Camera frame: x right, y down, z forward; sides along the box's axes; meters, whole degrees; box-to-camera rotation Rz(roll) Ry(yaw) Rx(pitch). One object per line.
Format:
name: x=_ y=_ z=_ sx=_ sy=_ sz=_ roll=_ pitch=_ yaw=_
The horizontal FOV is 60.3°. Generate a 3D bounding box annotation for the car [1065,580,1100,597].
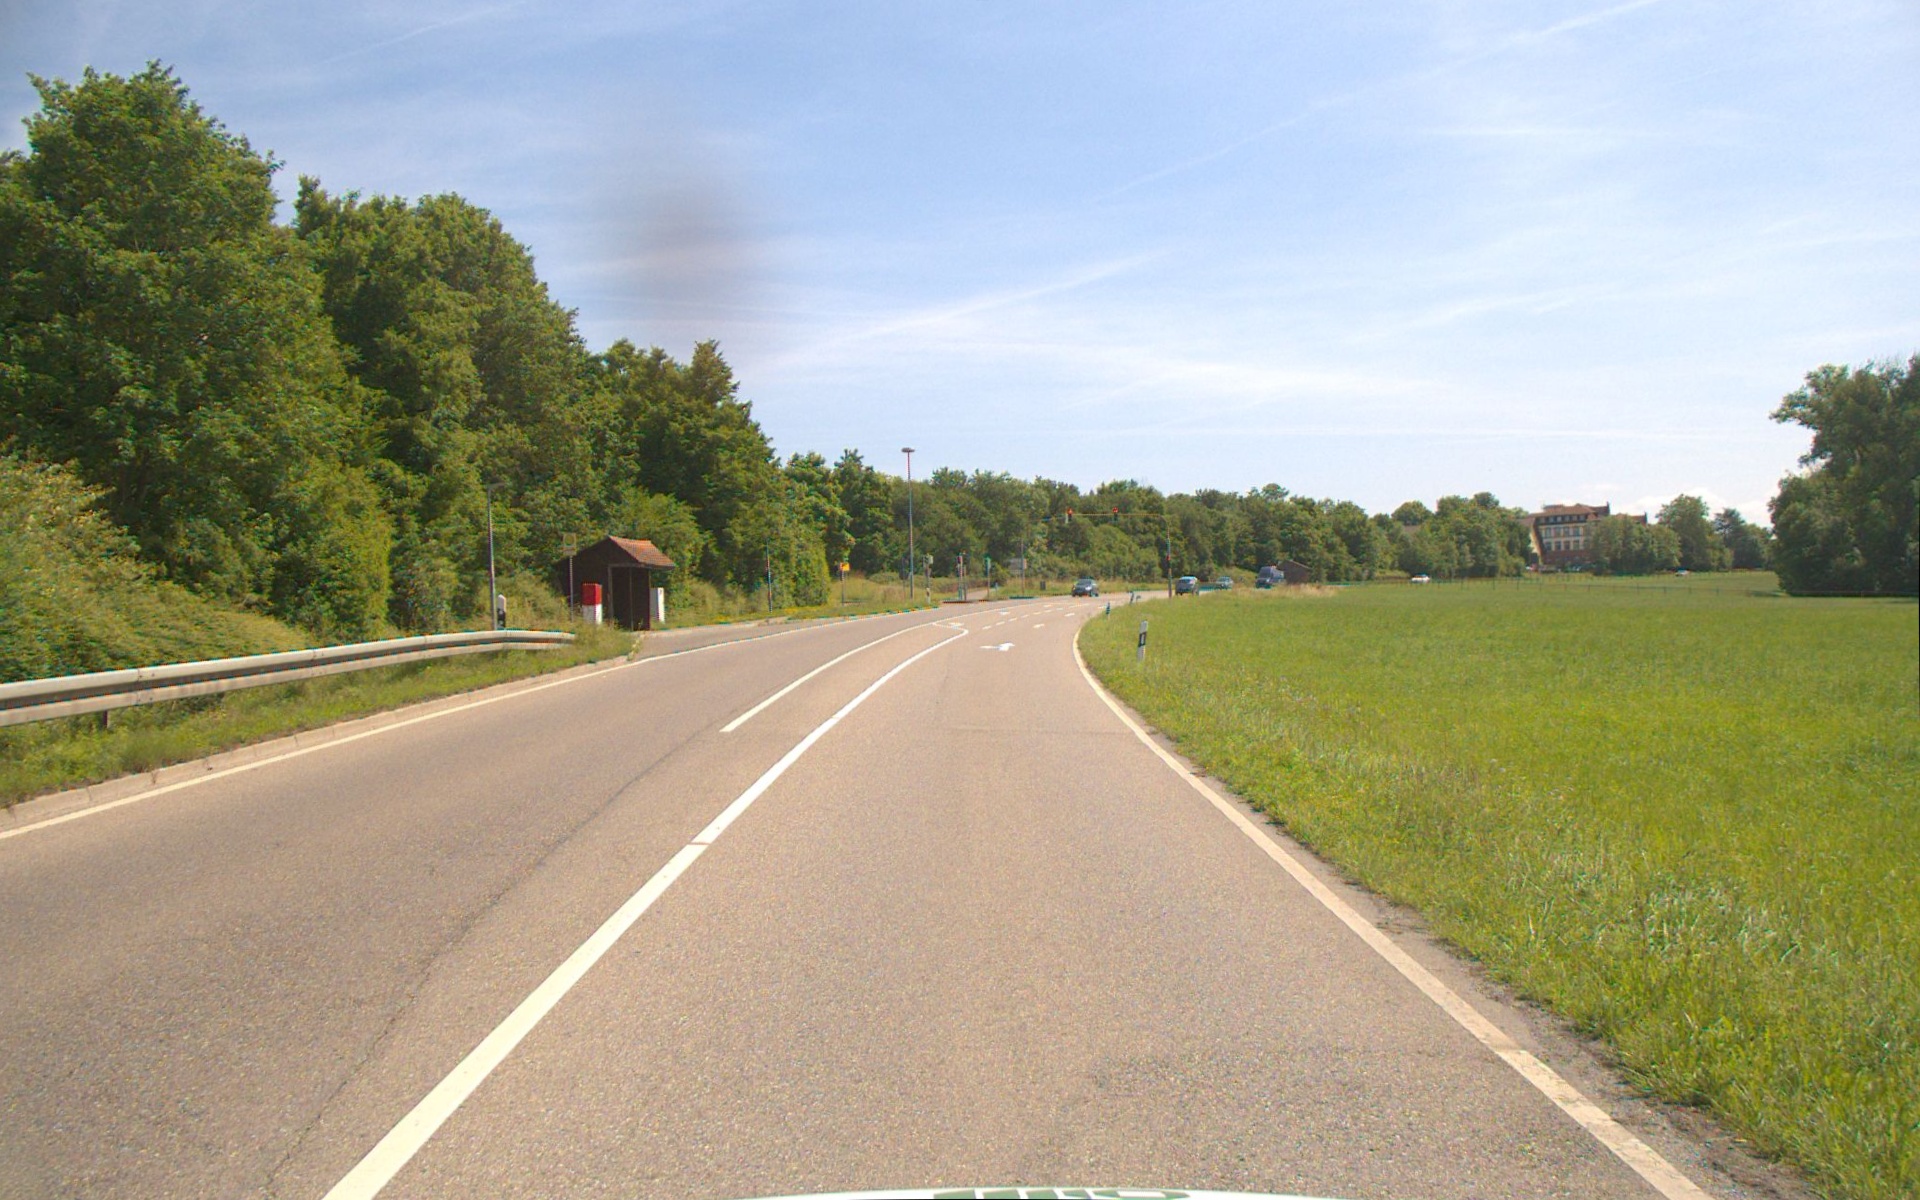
car: x=10.693 y=-0.987 z=144.101 sx=1.755 sy=1.500 sz=4.310 roll=0 pitch=0 yaw=22

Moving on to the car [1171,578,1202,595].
car: x=21.013 y=-1.227 z=153.266 sx=1.953 sy=1.601 sz=3.999 roll=0 pitch=0 yaw=22

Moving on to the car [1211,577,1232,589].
car: x=31.583 y=-2.052 z=199.487 sx=1.672 sy=1.509 sz=3.831 roll=0 pitch=0 yaw=23

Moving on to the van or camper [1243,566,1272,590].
van or camper: x=39.377 y=-2.928 z=218.849 sx=2.194 sy=2.964 sz=7.247 roll=0 pitch=2 yaw=22
